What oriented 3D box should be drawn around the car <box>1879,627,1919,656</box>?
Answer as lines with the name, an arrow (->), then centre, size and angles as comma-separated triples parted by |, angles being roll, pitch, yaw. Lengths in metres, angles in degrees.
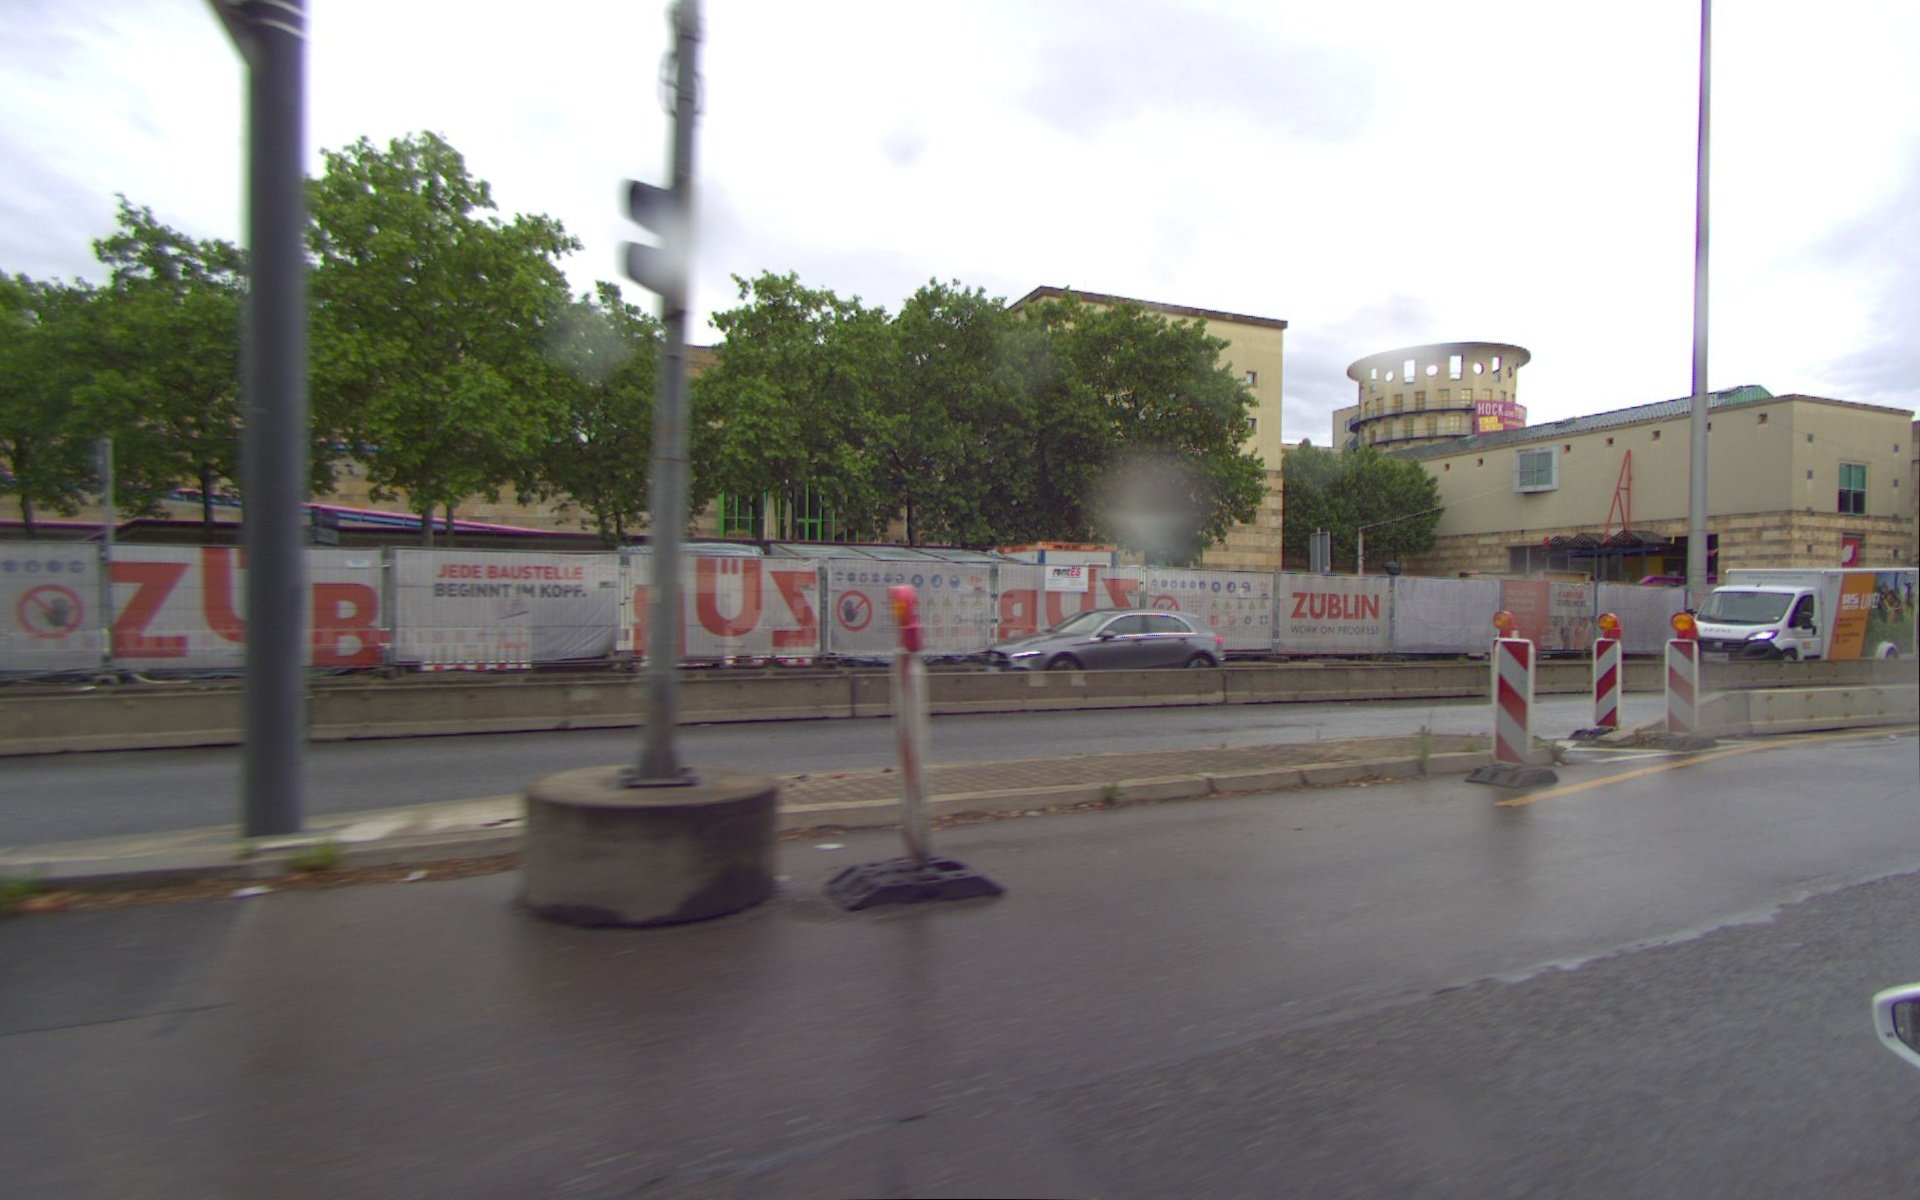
car -> 52.322, 2.276, 55.194 | 3.171, 1.520, 1.587 | 1, -2, -25

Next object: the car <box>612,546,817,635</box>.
car -> -6.030, -0.223, 24.665 | 4.649, 2.040, 1.989 | 0, 0, -23

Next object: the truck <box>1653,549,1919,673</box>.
truck -> 20.595, 0.282, 24.888 | 7.257, 2.755, 2.390 | 1, 0, -26

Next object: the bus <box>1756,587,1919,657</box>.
bus -> 58.353, 1.460, 65.751 | 13.286, 4.309, 3.115 | 1, 2, -19

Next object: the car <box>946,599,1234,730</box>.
car -> 2.293, 1.102, 17.476 | 4.695, 2.040, 1.902 | 2, -2, -26

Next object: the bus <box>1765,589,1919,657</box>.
bus -> 56.025, 1.432, 61.790 | 14.370, 3.862, 2.801 | 1, 2, -19
